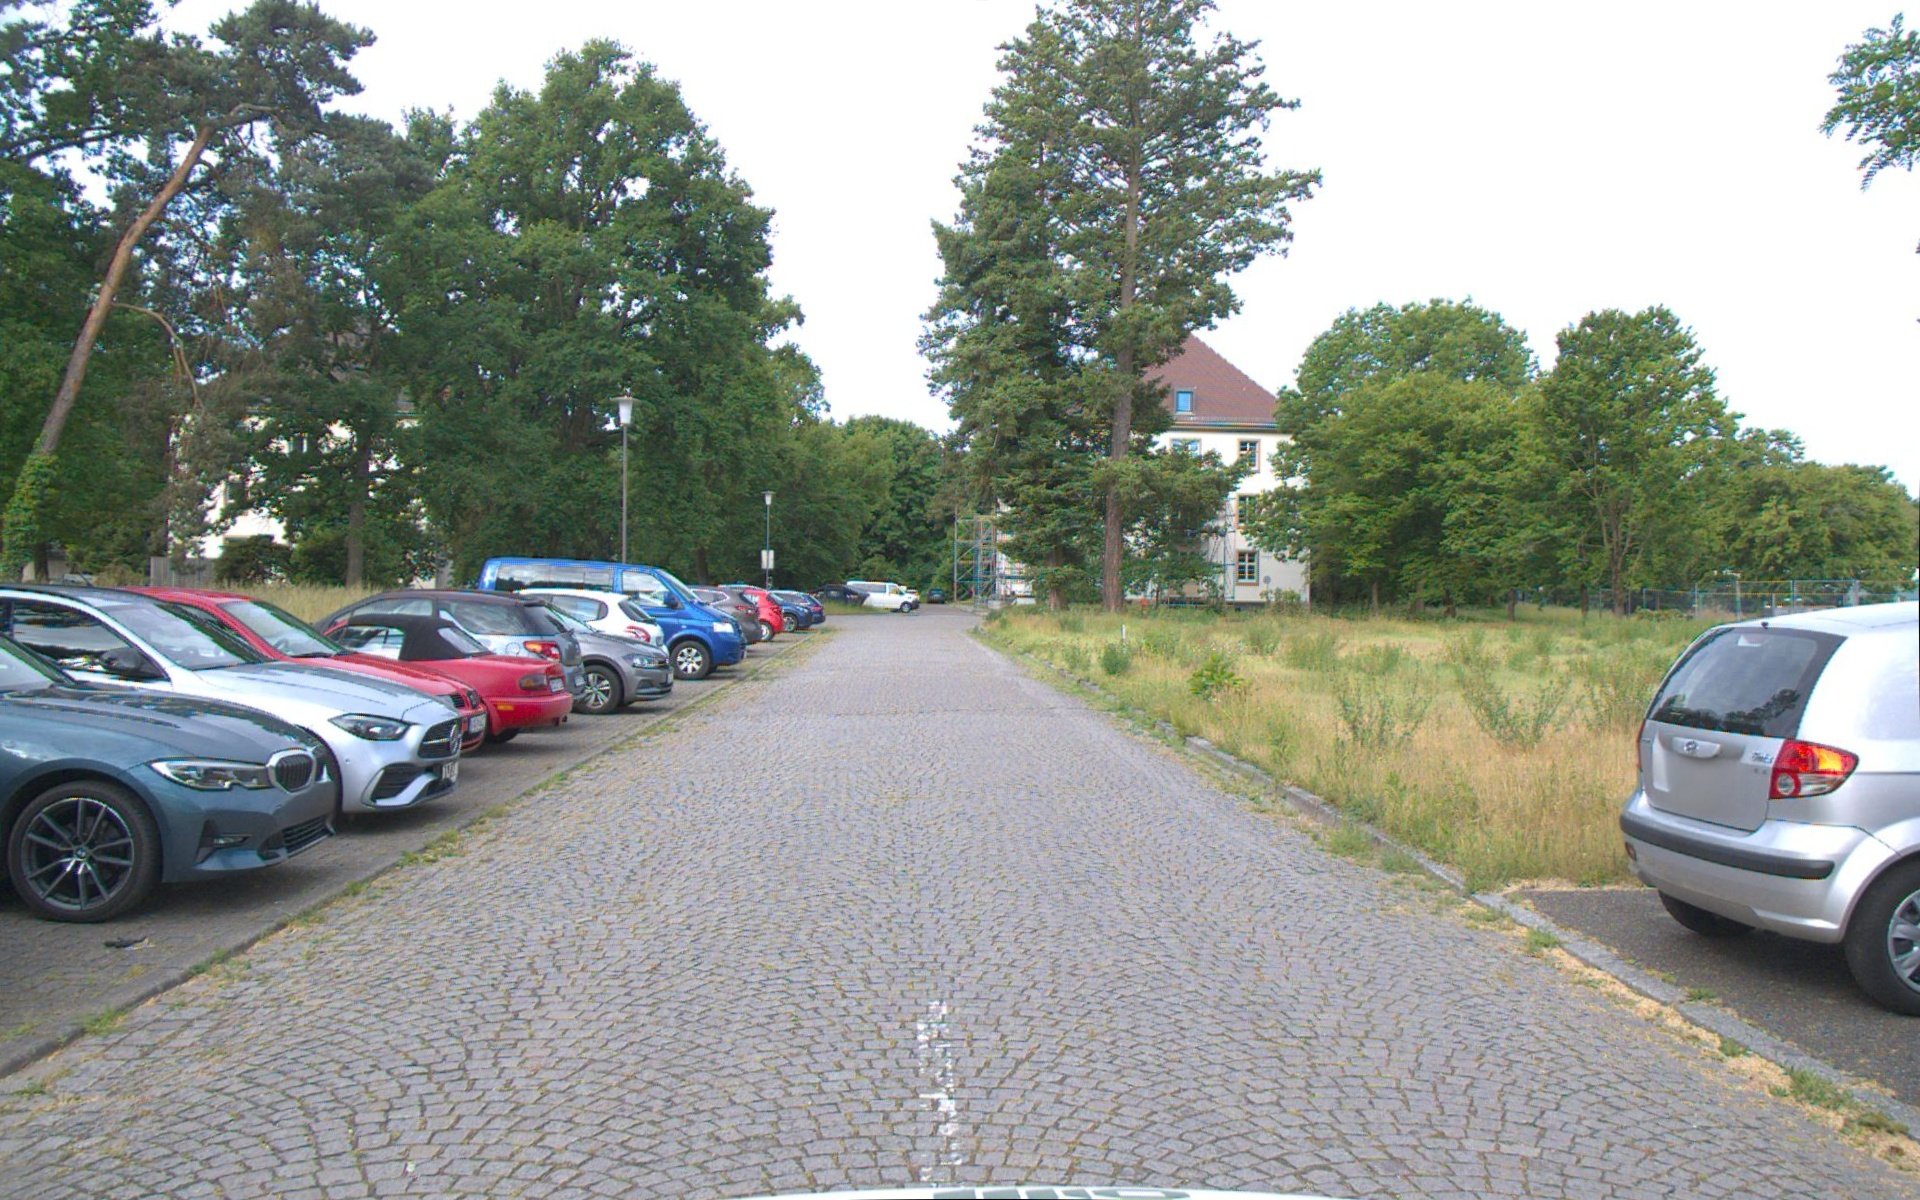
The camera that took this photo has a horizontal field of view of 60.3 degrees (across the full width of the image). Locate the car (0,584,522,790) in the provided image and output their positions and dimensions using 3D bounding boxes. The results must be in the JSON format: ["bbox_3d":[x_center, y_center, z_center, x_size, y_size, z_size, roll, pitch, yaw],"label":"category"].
[{"bbox_3d":[-5.794,0.649,13.260,4.083,1.502,1.863,1,0,-3],"label":"car"}]

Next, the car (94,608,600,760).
[{"bbox_3d":[-5.649,0.752,15.640,4.081,1.289,1.831,1,0,-1],"label":"car"}]

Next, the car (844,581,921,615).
[{"bbox_3d":[-5.305,-0.123,112.466,5.132,2.206,1.998,1,0,-5],"label":"car"}]

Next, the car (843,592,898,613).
[{"bbox_3d":[-6.250,0.175,115.019,3.715,1.420,1.998,1,0,-5],"label":"car"}]

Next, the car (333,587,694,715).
[{"bbox_3d":[-5.595,0.621,21.117,4.081,1.517,1.864,1,0,-1],"label":"car"}]

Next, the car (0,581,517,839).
[{"bbox_3d":[-5.295,0.655,10.877,4.288,1.534,1.934,1,0,-5],"label":"car"}]

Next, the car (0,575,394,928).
[{"bbox_3d":[-5.214,0.658,8.241,4.168,1.575,1.933,1,0,-6],"label":"car"}]

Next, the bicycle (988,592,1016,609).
[{"bbox_3d":[3.305,0.050,130.063,2.194,1.276,0.777,1,0,0],"label":"bicycle"}]

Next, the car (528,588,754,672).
[{"bbox_3d":[-6.093,0.570,31.936,4.084,1.536,1.780,1,0,-5],"label":"car"}]

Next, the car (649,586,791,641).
[{"bbox_3d":[-6.999,0.382,48.569,3.975,1.552,1.903,1,0,-4],"label":"car"}]

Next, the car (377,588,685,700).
[{"bbox_3d":[-6.145,0.617,24.047,3.985,1.523,1.845,1,0,-2],"label":"car"}]

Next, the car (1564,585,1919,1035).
[{"bbox_3d":[4.898,0.699,6.987,3.994,1.541,1.802,-2,1,-5],"label":"car"}]

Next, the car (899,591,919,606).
[{"bbox_3d":[-5.493,-0.164,178.488,2.076,1.548,3.997,1,0,-3],"label":"car"}]

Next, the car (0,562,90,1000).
[{"bbox_3d":[-5.367,0.630,5.502,3.908,1.570,1.904,1,0,-4],"label":"car"}]

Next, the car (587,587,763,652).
[{"bbox_3d":[-6.987,0.460,40.934,4.083,1.536,1.906,1,0,-4],"label":"car"}]

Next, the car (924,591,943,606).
[{"bbox_3d":[-2.882,-0.149,178.897,1.912,1.548,3.997,1,0,-4],"label":"car"}]

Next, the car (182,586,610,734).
[{"bbox_3d":[-6.106,0.623,18.277,4.082,1.508,1.845,1,0,-2],"label":"car"}]

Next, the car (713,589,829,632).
[{"bbox_3d":[-7.229,0.390,63.537,4.215,1.486,1.974,2,0,-1],"label":"car"}]

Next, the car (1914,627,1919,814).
[{"bbox_3d":[4.992,0.752,4.281,3.994,1.478,1.883,-2,1,-5],"label":"car"}]

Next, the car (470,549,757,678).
[{"bbox_3d":[-6.042,0.226,29.347,4.686,2.159,2.114,1,0,-3],"label":"car"}]

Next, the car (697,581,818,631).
[{"bbox_3d":[-7.166,0.207,58.844,4.144,1.604,1.886,2,0,-4],"label":"car"}]

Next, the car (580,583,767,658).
[{"bbox_3d":[-6.554,0.455,38.211,4.084,1.650,1.985,1,0,-5],"label":"car"}]

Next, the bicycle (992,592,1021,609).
[{"bbox_3d":[3.519,0.031,125.814,2.194,1.276,0.777,1,0,0],"label":"bicycle"}]
